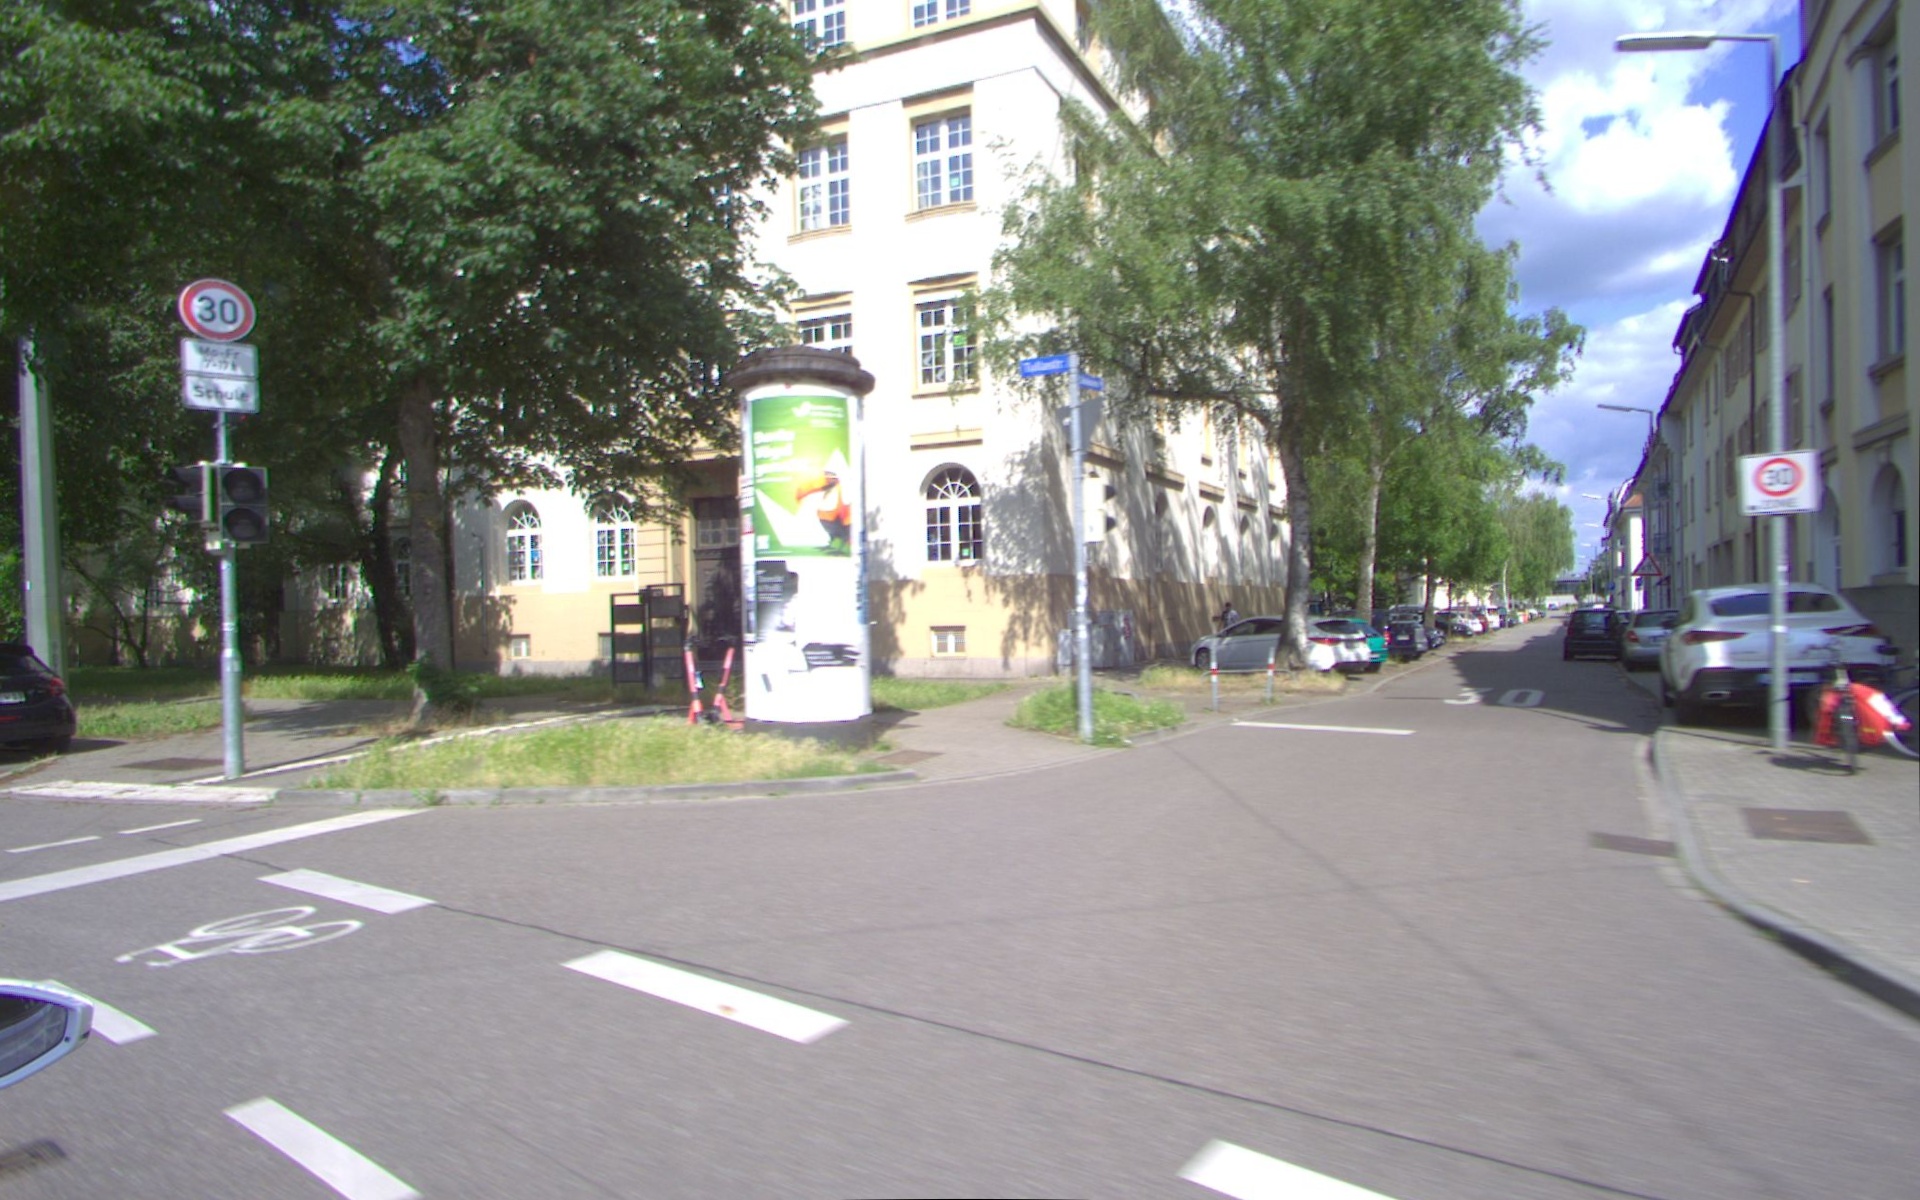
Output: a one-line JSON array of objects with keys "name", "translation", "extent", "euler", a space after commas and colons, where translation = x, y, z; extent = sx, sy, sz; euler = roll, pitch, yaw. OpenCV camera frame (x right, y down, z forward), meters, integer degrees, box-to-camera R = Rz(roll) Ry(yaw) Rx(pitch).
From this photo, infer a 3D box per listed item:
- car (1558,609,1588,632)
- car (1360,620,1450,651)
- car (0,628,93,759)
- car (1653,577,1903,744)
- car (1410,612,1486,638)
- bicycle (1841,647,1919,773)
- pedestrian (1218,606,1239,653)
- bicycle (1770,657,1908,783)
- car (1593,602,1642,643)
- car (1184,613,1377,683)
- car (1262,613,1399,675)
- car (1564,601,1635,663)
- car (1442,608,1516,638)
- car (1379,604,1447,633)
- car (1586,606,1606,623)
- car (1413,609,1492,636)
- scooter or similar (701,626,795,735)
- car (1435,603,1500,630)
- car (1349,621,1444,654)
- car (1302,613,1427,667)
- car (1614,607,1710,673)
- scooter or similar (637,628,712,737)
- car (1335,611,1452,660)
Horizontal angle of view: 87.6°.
[{"name": "car", "translation": [42.481, 1.403, 69.409], "extent": [1.712, 1.486, 3.630], "euler": [-1, -1, 32]}, {"name": "car", "translation": [17.245, 1.362, 38.885], "extent": [1.266, 1.143, 2.980], "euler": [-1, -1, -32]}, {"name": "car", "translation": [-12.692, 1.127, 12.079], "extent": [3.837, 1.452, 1.766], "euler": [-2, 0, 21]}, {"name": "car", "translation": [10.344, 0.669, 13.041], "extent": [1.886, 1.756, 4.749], "euler": [-1, -1, 32]}, {"name": "car", "translation": [28.115, 1.417, 57.788], "extent": [1.685, 1.416, 3.724], "euler": [-1, -1, -27]}, {"name": "bicycle", "translation": [8.881, 0.990, 9.359], "extent": [0.576, 0.980, 1.645], "euler": [-4, -1, 29]}, {"name": "pedestrian", "translation": [8.678, 0.955, 32.321], "extent": [0.495, 1.488, 0.625], "euler": [-1, 0, 30]}, {"name": "bicycle", "translation": [8.045, 1.059, 9.233], "extent": [0.576, 0.980, 1.646], "euler": [-3, -1, 29]}, {"name": "car", "translation": [29.601, 0.990, 45.150], "extent": [1.712, 1.761, 3.630], "euler": [-1, -1, 32]}, {"name": "car", "translation": [7.575, 1.106, 24.117], "extent": [1.599, 1.505, 4.520], "euler": [-1, -1, -31]}, {"name": "car", "translation": [9.514, 1.096, 25.930], "extent": [1.363, 1.475, 3.253], "euler": [-1, -1, -27]}, {"name": "car", "translation": [19.368, 0.938, 30.416], "extent": [1.712, 1.761, 3.630], "euler": [0, 0, 32]}, {"name": "car", "translation": [25.462, 1.136, 49.177], "extent": [2.967, 1.434, 1.219], "euler": [-2, -1, 45]}, {"name": "car", "translation": [23.314, 0.984, 51.593], "extent": [2.966, 1.434, 1.219], "euler": [-2, -1, 45]}, {"name": "car", "translation": [57.637, 1.329, 90.732], "extent": [1.472, 1.486, 3.280], "euler": [-1, -1, 32]}, {"name": "car", "translation": [29.369, 1.350, 59.830], "extent": [1.684, 1.553, 3.980], "euler": [-1, -1, -30]}, {"name": "scooter or similar", "translation": [-2.572, 0.953, 12.140], "extent": [1.012, 1.247, 0.435], "euler": [-1, 0, -31]}, {"name": "car", "translation": [32.488, 1.086, 64.150], "extent": [1.393, 1.686, 3.490], "euler": [-1, -1, -33]}, {"name": "car", "translation": [15.905, 1.356, 36.575], "extent": [1.266, 1.143, 2.980], "euler": [-1, -1, -32]}, {"name": "car", "translation": [12.054, 1.167, 30.033], "extent": [1.569, 1.475, 3.254], "euler": [-1, -1, -26]}, {"name": "car", "translation": [17.526, 0.978, 25.138], "extent": [1.599, 1.477, 3.579], "euler": [-4, -2, 30]}, {"name": "scooter or similar", "translation": [-3.327, 0.932, 11.614], "extent": [0.303, 1.205, 1.151], "euler": [-1, 0, -45]}, {"name": "car", "translation": [13.966, 1.129, 32.411], "extent": [1.568, 1.475, 3.254], "euler": [-1, -1, -26]}]
